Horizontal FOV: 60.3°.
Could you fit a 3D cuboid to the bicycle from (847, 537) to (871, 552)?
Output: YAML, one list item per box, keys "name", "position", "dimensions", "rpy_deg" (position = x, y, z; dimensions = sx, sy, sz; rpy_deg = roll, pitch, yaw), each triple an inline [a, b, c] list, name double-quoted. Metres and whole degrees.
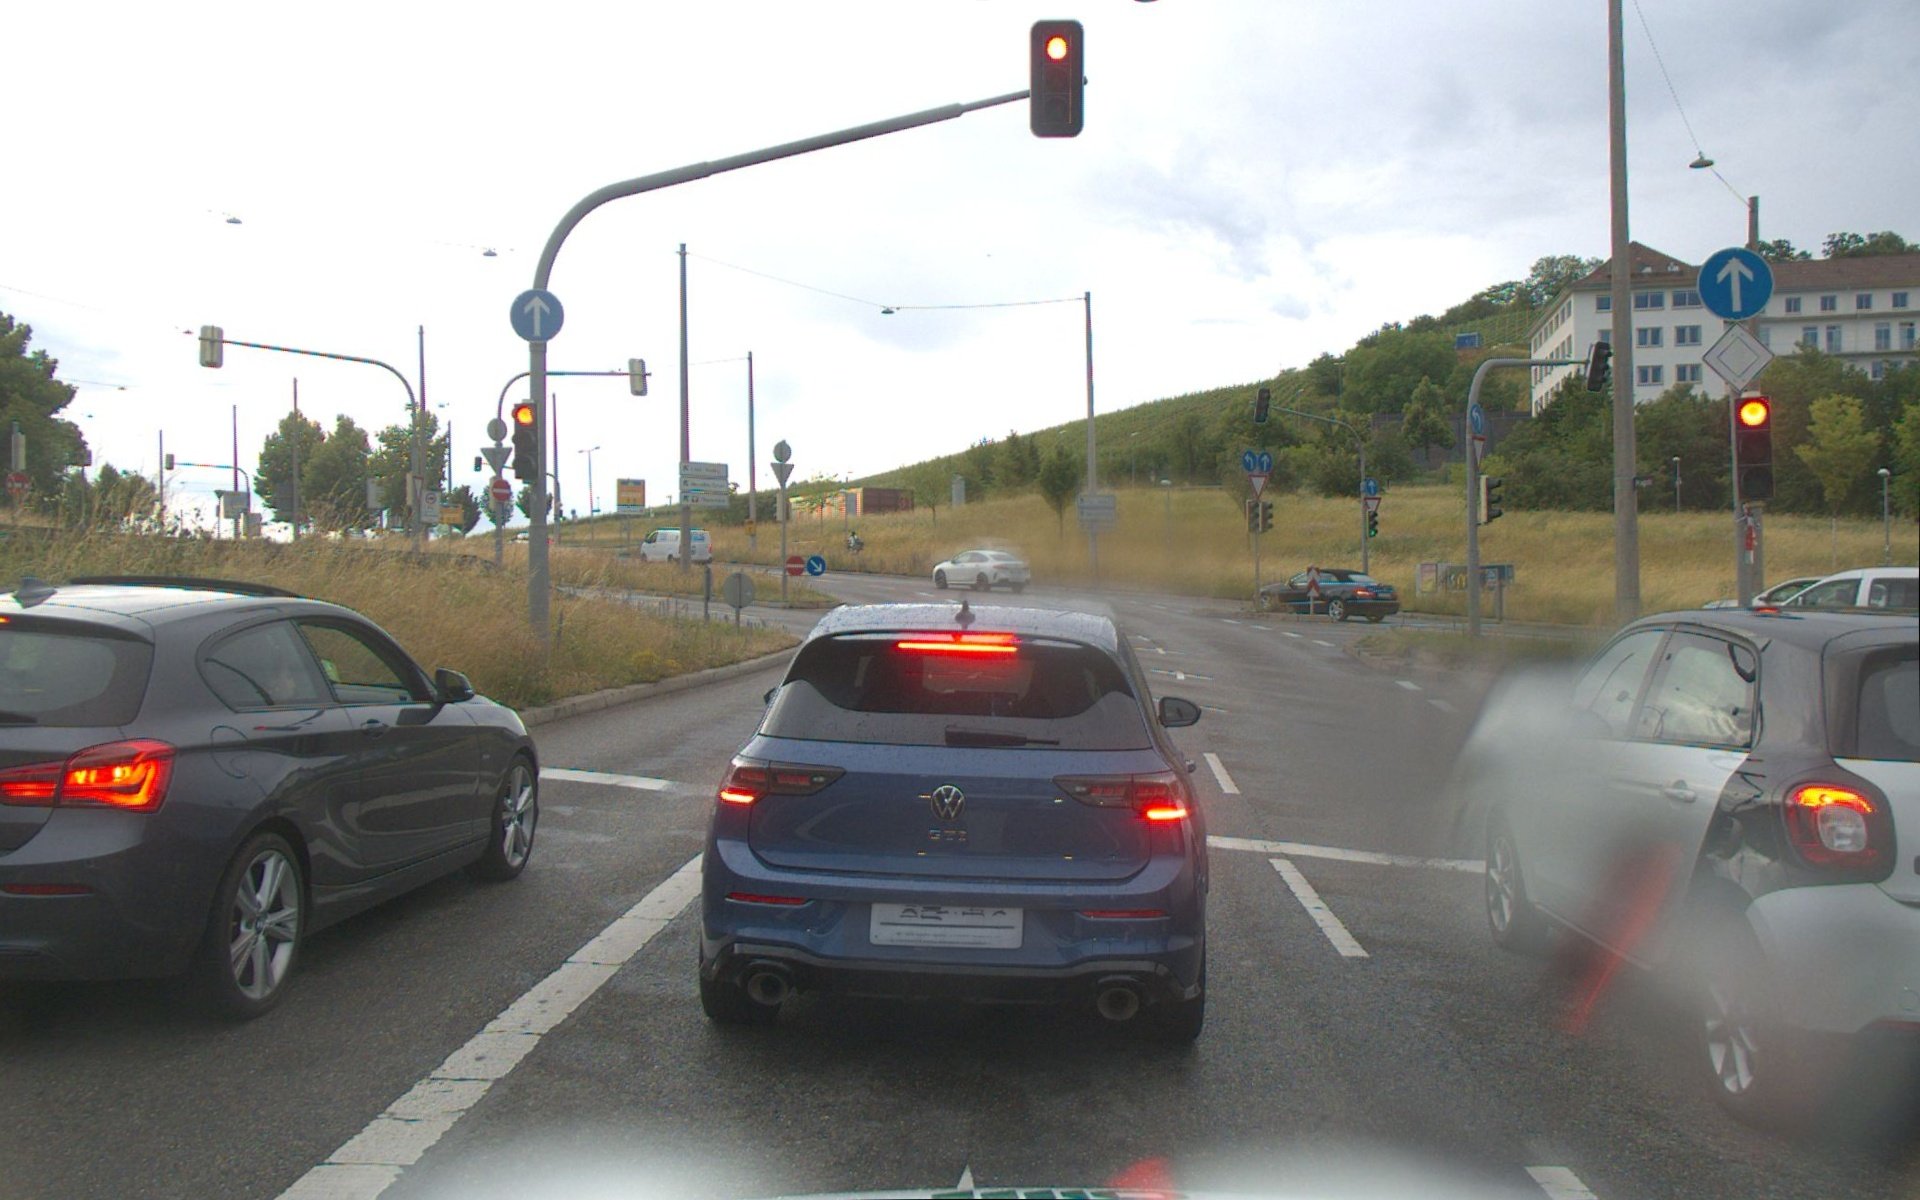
- name: "bicycle"
  position: [-5.605, -3.091, 91.526]
  dimensions: [0.514, 0.788, 1.600]
  rpy_deg: [3, 1, -37]

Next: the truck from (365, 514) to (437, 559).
- name: "truck"
  position: [-41.944, -4.783, 124.022]
  dimensions: [3.233, 3.128, 6.096]
  rpy_deg: [4, 0, -37]

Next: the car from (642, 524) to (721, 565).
- name: "car"
  position: [-13.884, -2.748, 82.246]
  dimensions: [2.111, 1.826, 4.683]
  rpy_deg: [1, -1, -34]

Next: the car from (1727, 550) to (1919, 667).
- name: "car"
  position: [15.639, 0.154, 27.848]
  dimensions: [1.807, 1.882, 4.625]
  rpy_deg: [2, -1, -42]

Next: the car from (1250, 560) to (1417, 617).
- name: "car"
  position: [10.489, -0.298, 46.762]
  dimensions: [1.977, 1.503, 4.446]
  rpy_deg: [1, -1, -36]

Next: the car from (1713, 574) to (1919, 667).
- name: "car"
  position: [16.833, 0.371, 31.137]
  dimensions: [1.983, 1.649, 4.456]
  rpy_deg: [2, -1, -42]

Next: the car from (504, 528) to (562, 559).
- name: "car"
  position: [-26.069, -3.421, 100.880]
  dimensions: [1.977, 1.688, 4.487]
  rpy_deg: [1, -1, -36]

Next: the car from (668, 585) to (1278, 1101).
- name: "car"
  position: [0.133, 0.696, 6.799]
  dimensions: [1.787, 1.486, 3.810]
  rpy_deg: [1, 1, 3]

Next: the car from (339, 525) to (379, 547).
- name: "car"
  position: [-50.817, -5.393, 139.749]
  dimensions: [1.978, 1.688, 4.488]
  rpy_deg: [2, 1, -36]

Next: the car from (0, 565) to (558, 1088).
- name: "car"
  position: [-3.069, 0.661, 6.799]
  dimensions: [1.667, 1.485, 4.115]
  rpy_deg: [1, -1, 2]

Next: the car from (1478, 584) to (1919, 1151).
- name: "car"
  position: [3.207, 0.751, 6.179]
  dimensions: [1.623, 1.529, 3.452]
  rpy_deg: [1, -1, 3]

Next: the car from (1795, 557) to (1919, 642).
- name: "car"
  position: [19.583, 0.007, 33.521]
  dimensions: [1.979, 1.665, 4.362]
  rpy_deg: [1, -1, -37]

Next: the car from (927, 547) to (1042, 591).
- name: "car"
  position: [0.869, -1.117, 60.759]
  dimensions: [1.979, 1.503, 4.362]
  rpy_deg: [1, -1, -37]

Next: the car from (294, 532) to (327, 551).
- name: "car"
  position: [-62.137, -5.570, 158.091]
  dimensions: [1.976, 1.688, 4.490]
  rpy_deg: [1, -1, -34]

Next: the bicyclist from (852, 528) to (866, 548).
- name: "bicyclist"
  position: [-5.586, -3.443, 91.517]
  dimensions: [0.519, 1.065, 0.573]
  rpy_deg: [4, 0, -37]
